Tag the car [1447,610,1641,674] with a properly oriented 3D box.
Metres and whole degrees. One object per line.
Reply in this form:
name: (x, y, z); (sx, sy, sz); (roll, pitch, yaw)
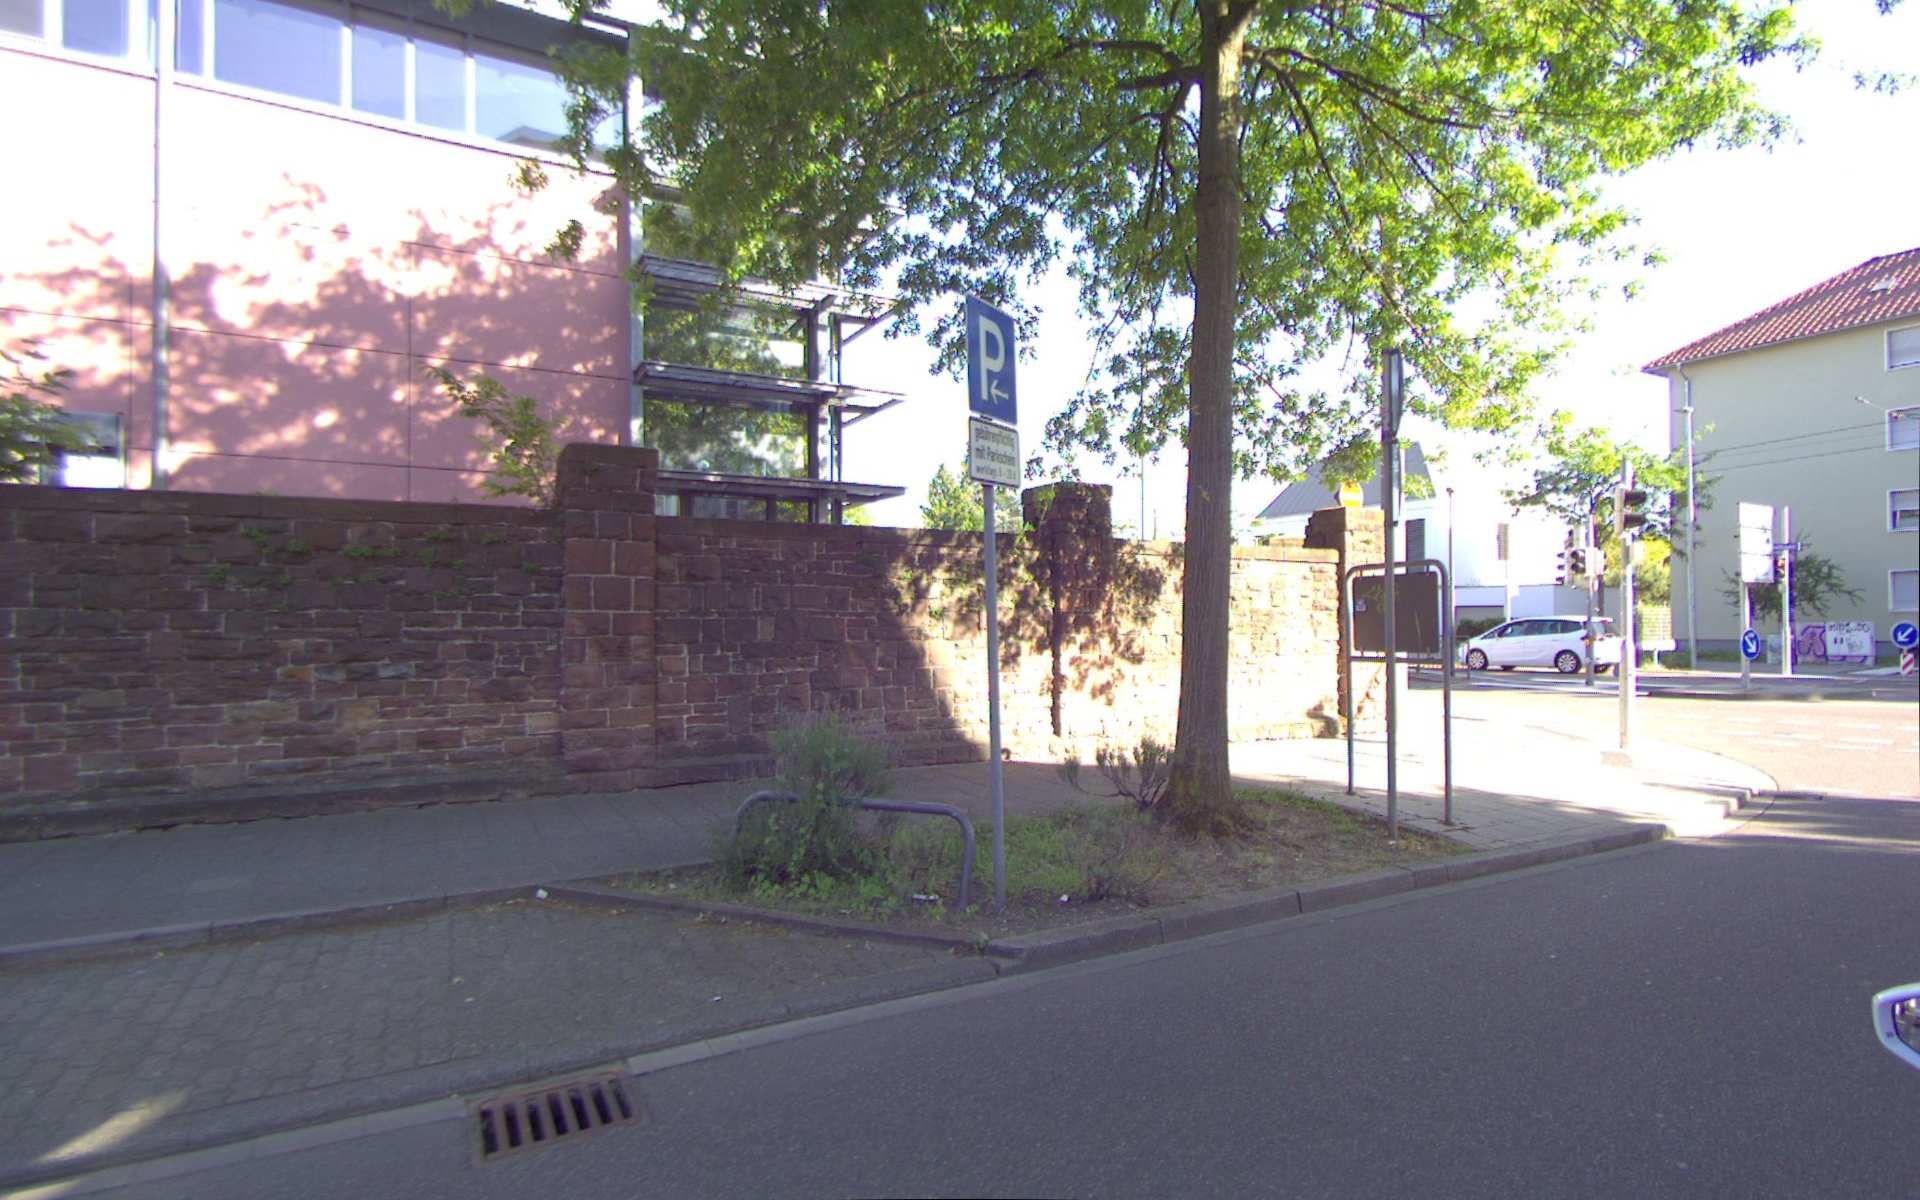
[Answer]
car: (17.244, 1.199, 29.889); (1.979, 1.762, 4.634); (0, -1, -34)
